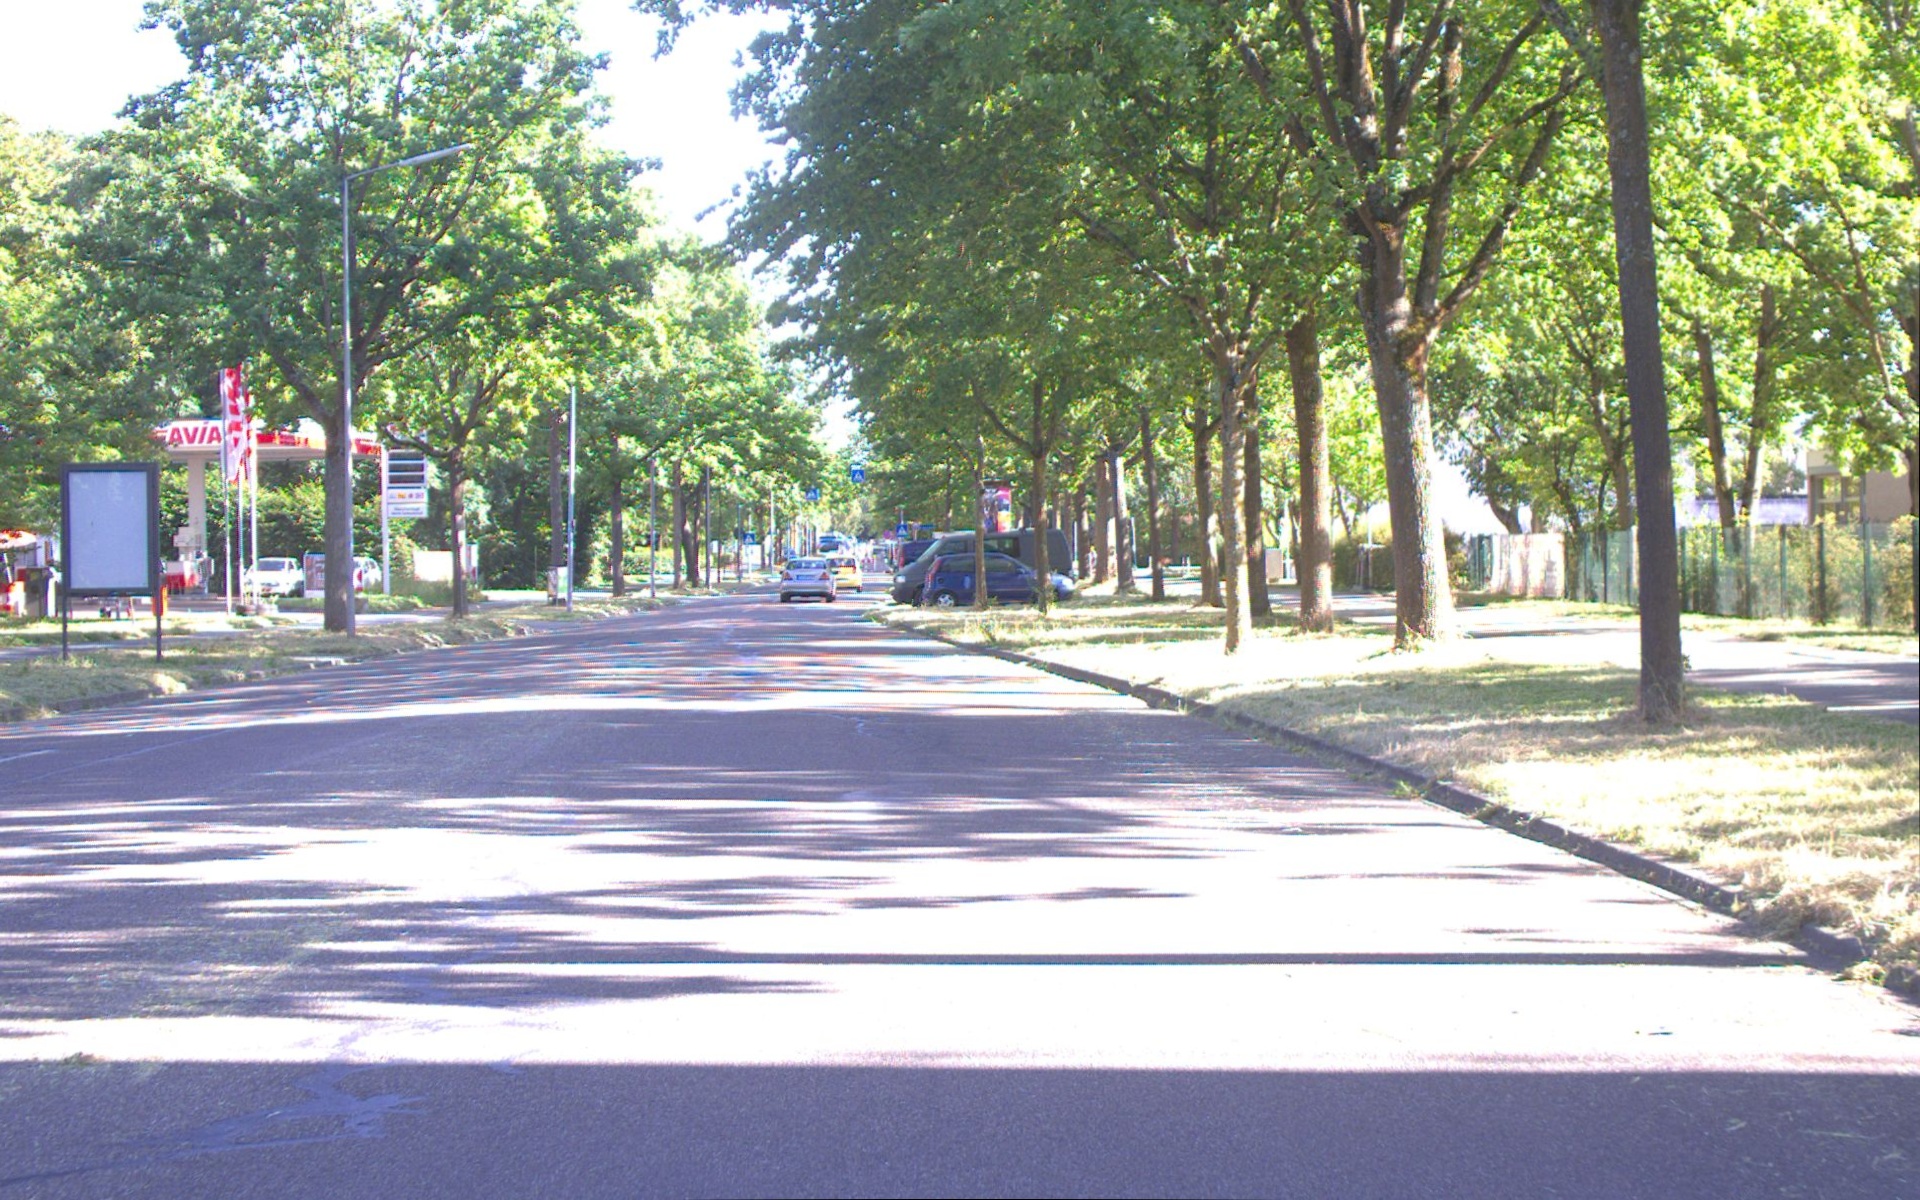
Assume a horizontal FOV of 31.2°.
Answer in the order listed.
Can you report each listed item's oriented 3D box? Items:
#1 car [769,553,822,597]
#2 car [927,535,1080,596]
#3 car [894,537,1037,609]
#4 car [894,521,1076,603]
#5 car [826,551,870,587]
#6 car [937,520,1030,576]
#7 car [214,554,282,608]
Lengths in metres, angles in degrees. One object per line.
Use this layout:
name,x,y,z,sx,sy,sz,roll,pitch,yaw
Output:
car,-5.313,-0.812,111.585,1.661,1.332,3.665,-1,0,-2
car,1.047,-0.840,84.226,3.653,1.393,1.317,-1,0,-2
car,0.127,-0.698,89.672,3.653,1.791,1.317,-1,-1,-2
car,0.614,-0.957,87.195,4.502,1.946,1.688,-1,0,-2
car,-4.454,-1.222,136.165,1.661,1.332,3.665,-1,0,-2
car,0.928,-2.054,135.704,3.567,2.044,1.633,-1,-2,-2
car,-25.178,-0.647,121.589,1.801,1.817,3.805,-1,0,-4
